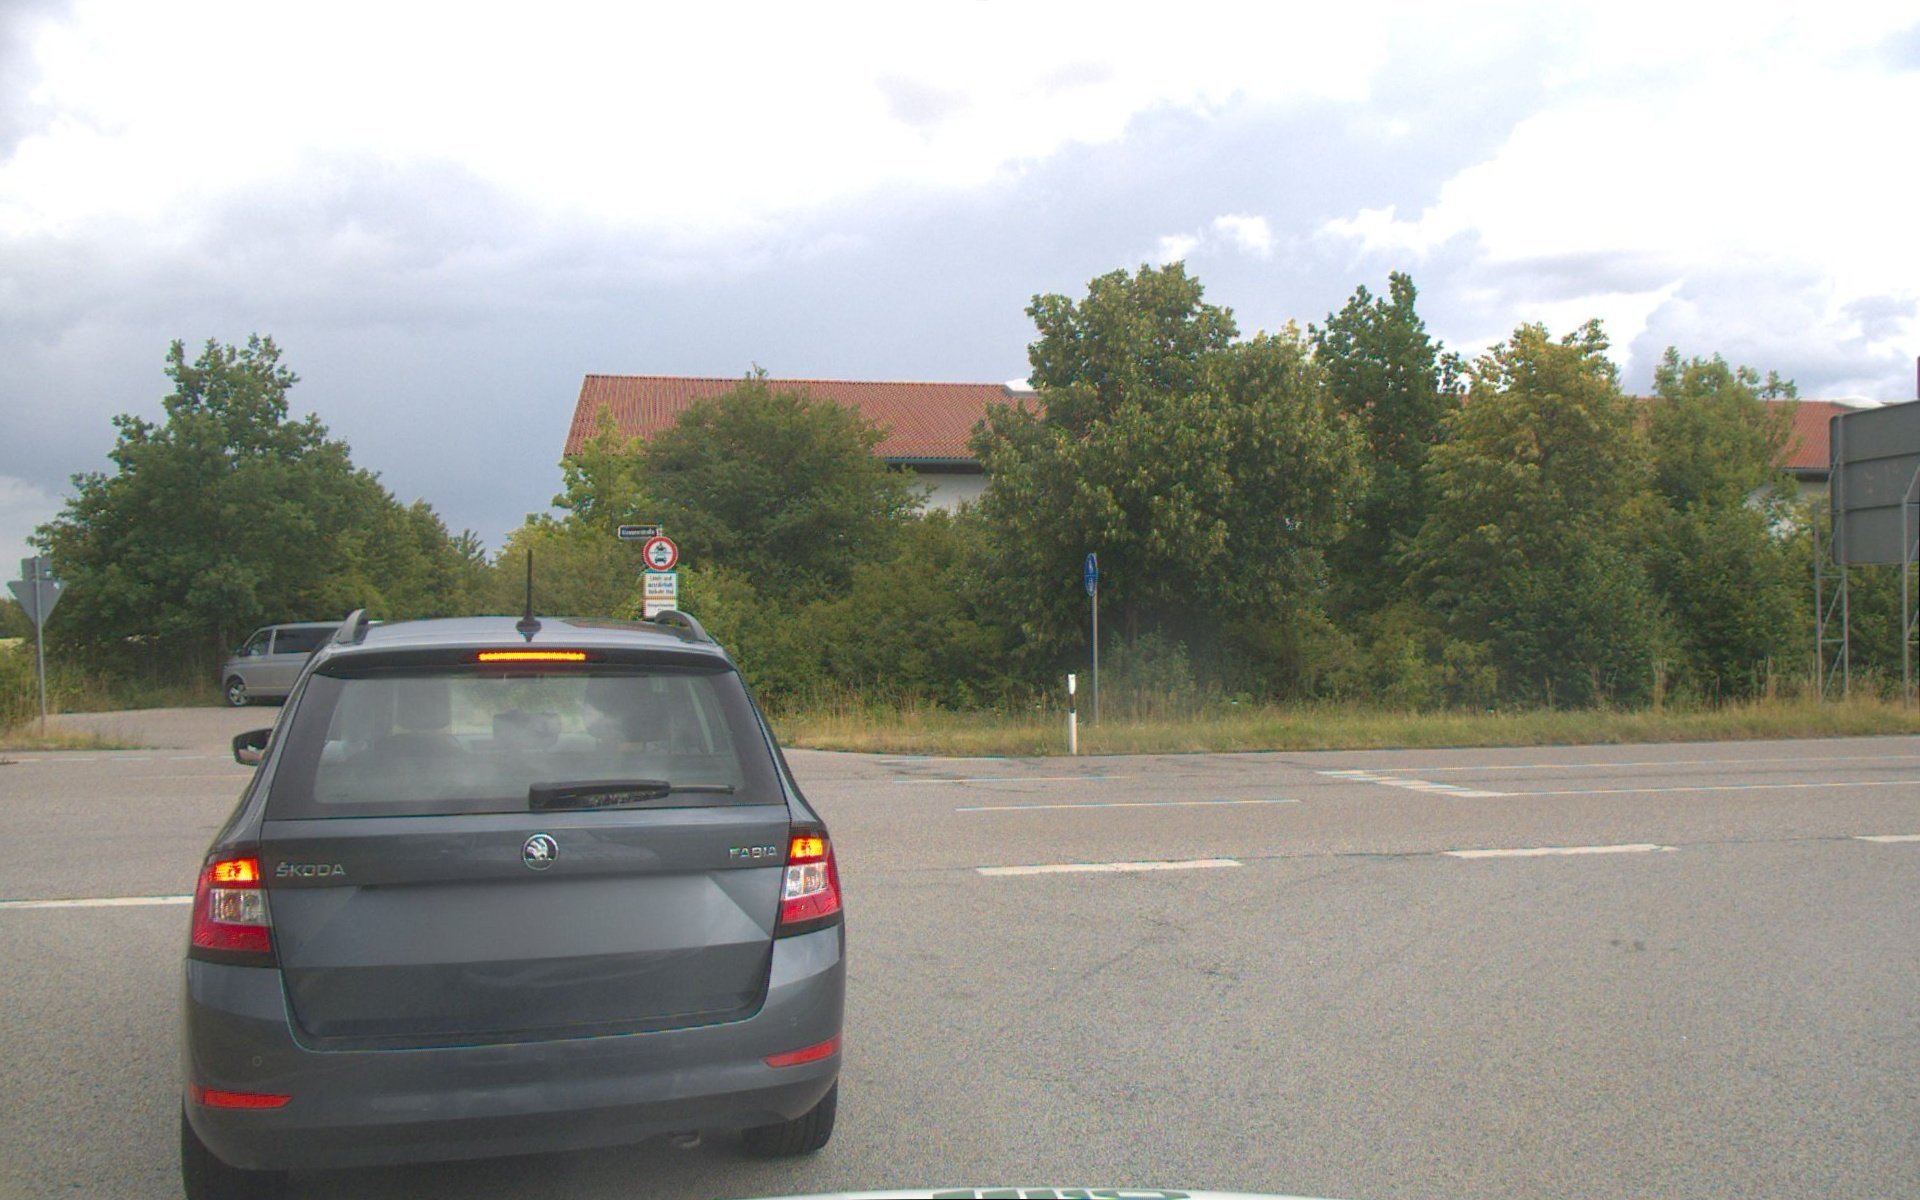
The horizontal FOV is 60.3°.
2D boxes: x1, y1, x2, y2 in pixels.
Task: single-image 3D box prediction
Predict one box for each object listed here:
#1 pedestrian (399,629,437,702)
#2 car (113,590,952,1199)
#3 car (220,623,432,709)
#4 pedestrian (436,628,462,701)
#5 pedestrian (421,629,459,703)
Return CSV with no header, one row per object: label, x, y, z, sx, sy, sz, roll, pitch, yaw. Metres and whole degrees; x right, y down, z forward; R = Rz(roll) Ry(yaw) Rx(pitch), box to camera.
pedestrian,-13.218,1.597,40.345,0.687,1.753,0.732,-1,-1,-3
car,-1.408,0.743,5.410,1.686,1.473,4.098,1,-1,-17
car,-15.341,1.582,39.943,4.989,1.919,2.109,-2,0,30
pedestrian,-12.731,1.597,41.186,0.480,1.777,0.642,-1,-1,-7
pedestrian,-12.439,1.569,39.589,0.710,1.753,0.791,-1,-1,-7
